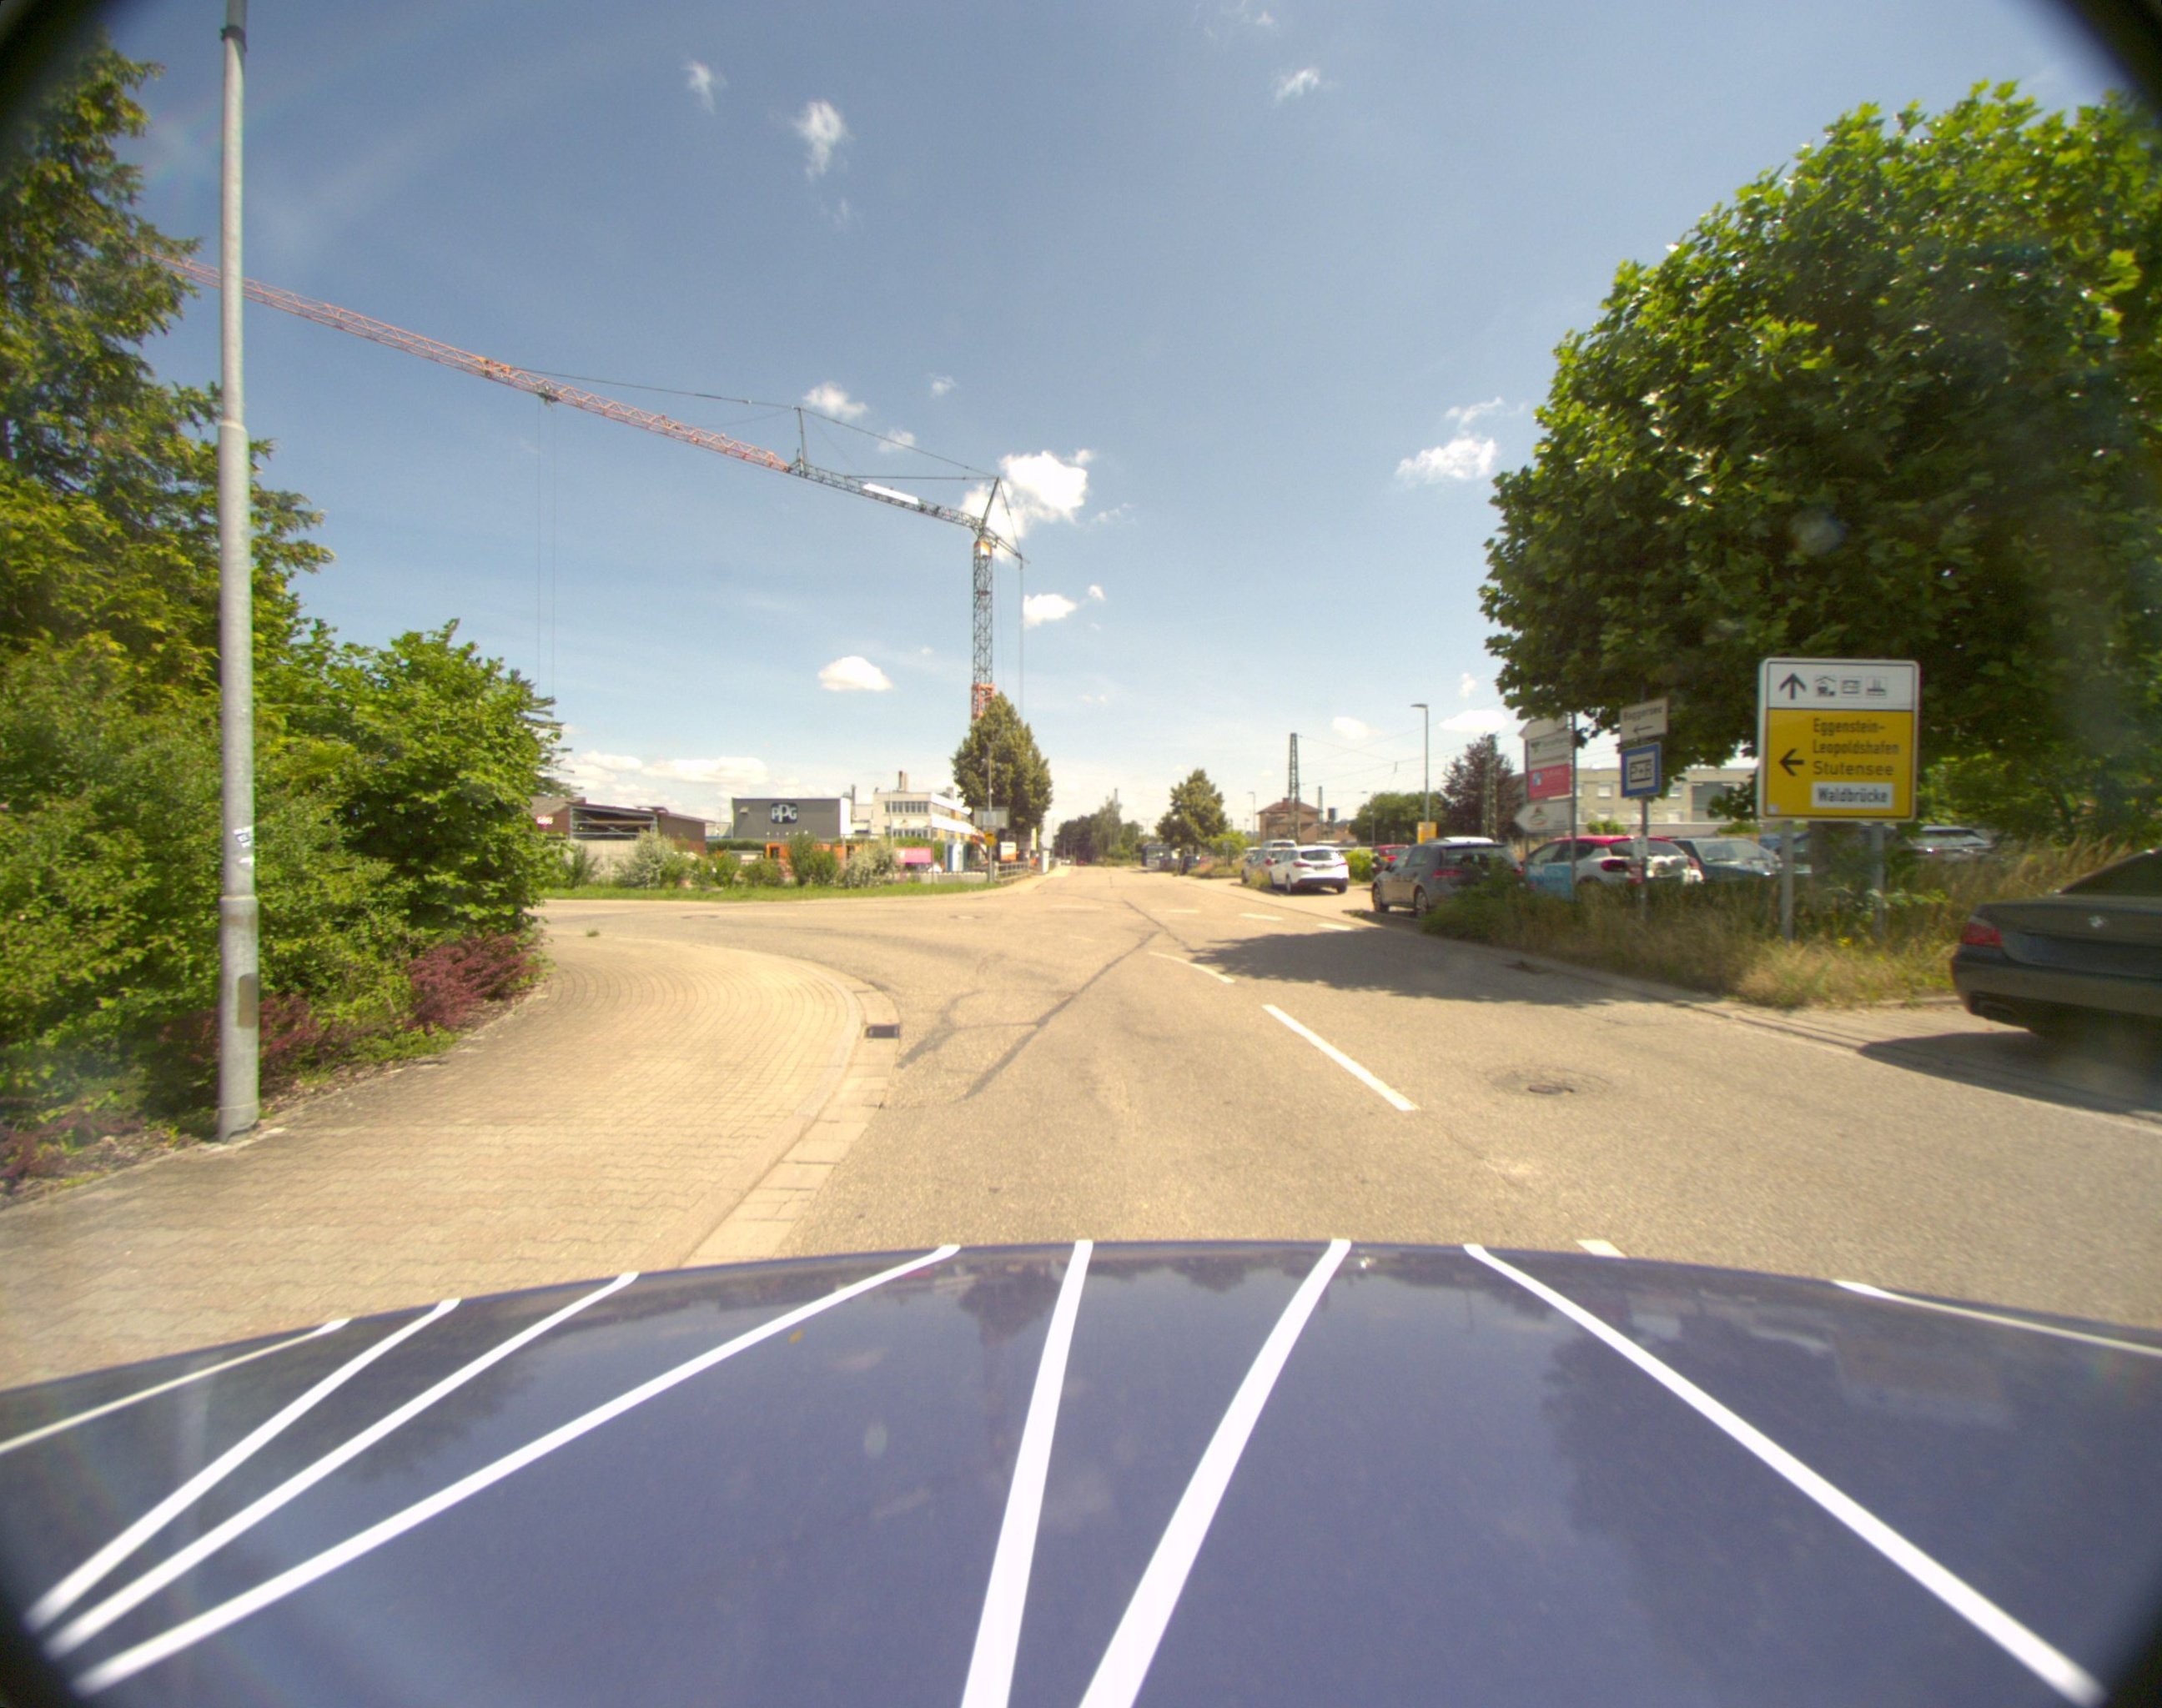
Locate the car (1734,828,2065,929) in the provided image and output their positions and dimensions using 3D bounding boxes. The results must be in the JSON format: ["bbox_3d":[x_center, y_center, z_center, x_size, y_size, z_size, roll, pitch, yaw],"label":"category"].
[{"bbox_3d":[14.977,0.379,14.330,1.998,1.628,4.087,0,0,5],"label":"car"}]

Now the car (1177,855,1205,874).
[{"bbox_3d":[8.386,0.765,58.347,1.607,1.342,4.000,0,0,1],"label":"car"}]

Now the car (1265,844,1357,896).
[{"bbox_3d":[7.354,0.463,24.720,1.808,1.555,4.262,0,0,2],"label":"car"}]

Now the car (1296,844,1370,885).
[{"bbox_3d":[10.154,0.374,30.894,1.804,1.555,4.263,0,0,3],"label":"car"}]

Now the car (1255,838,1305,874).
[{"bbox_3d":[10.572,0.096,40.607,1.952,1.822,3.836,0,0,4],"label":"car"}]

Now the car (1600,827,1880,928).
[{"bbox_3d":[12.055,0.358,14.357,1.998,1.628,4.088,0,0,6],"label":"car"}]

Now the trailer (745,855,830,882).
[{"bbox_3d":[-20.624,0.969,53.667,5.401,1.769,1.819,0,3,-14],"label":"trailer"}]

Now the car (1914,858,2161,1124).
[{"bbox_3d":[7.952,0.734,4.421,4.439,1.402,1.787,0,1,-4],"label":"car"}]

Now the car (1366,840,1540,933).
[{"bbox_3d":[6.890,0.518,14.569,1.688,1.522,4.064,0,0,6],"label":"car"}]

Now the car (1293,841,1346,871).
[{"bbox_3d":[13.283,0.100,42.557,1.952,1.599,4.273,0,0,4],"label":"car"}]

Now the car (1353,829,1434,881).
[{"bbox_3d":[12.602,0.019,30.944,1.850,2.002,4.001,0,0,4],"label":"car"}]

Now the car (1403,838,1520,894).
[{"bbox_3d":[12.225,0.349,24.727,1.998,1.648,4.264,-1,1,5],"label":"car"}]

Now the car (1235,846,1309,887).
[{"bbox_3d":[7.639,0.454,30.737,1.795,1.535,3.959,0,0,-3],"label":"car"}]

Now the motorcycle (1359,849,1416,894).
[{"bbox_3d":[9.971,0.532,24.868,0.739,1.365,3.214,0,0,4],"label":"motorcycle"}]

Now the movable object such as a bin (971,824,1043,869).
[{"bbox_3d":[-5.788,-0.615,59.137,5.133,3.277,2.390,0,6,-18],"label":"movable object such as a bin"}]

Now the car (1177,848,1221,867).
[{"bbox_3d":[10.359,0.298,66.864,3.438,1.583,1.648,0,3,-7],"label":"car"}]

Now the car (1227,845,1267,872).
[{"bbox_3d":[10.449,0.258,48.046,1.732,1.676,4.000,0,0,1],"label":"car"}]

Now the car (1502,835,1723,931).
[{"bbox_3d":[9.528,0.454,14.005,1.795,1.528,3.580,0,0,6],"label":"car"}]
